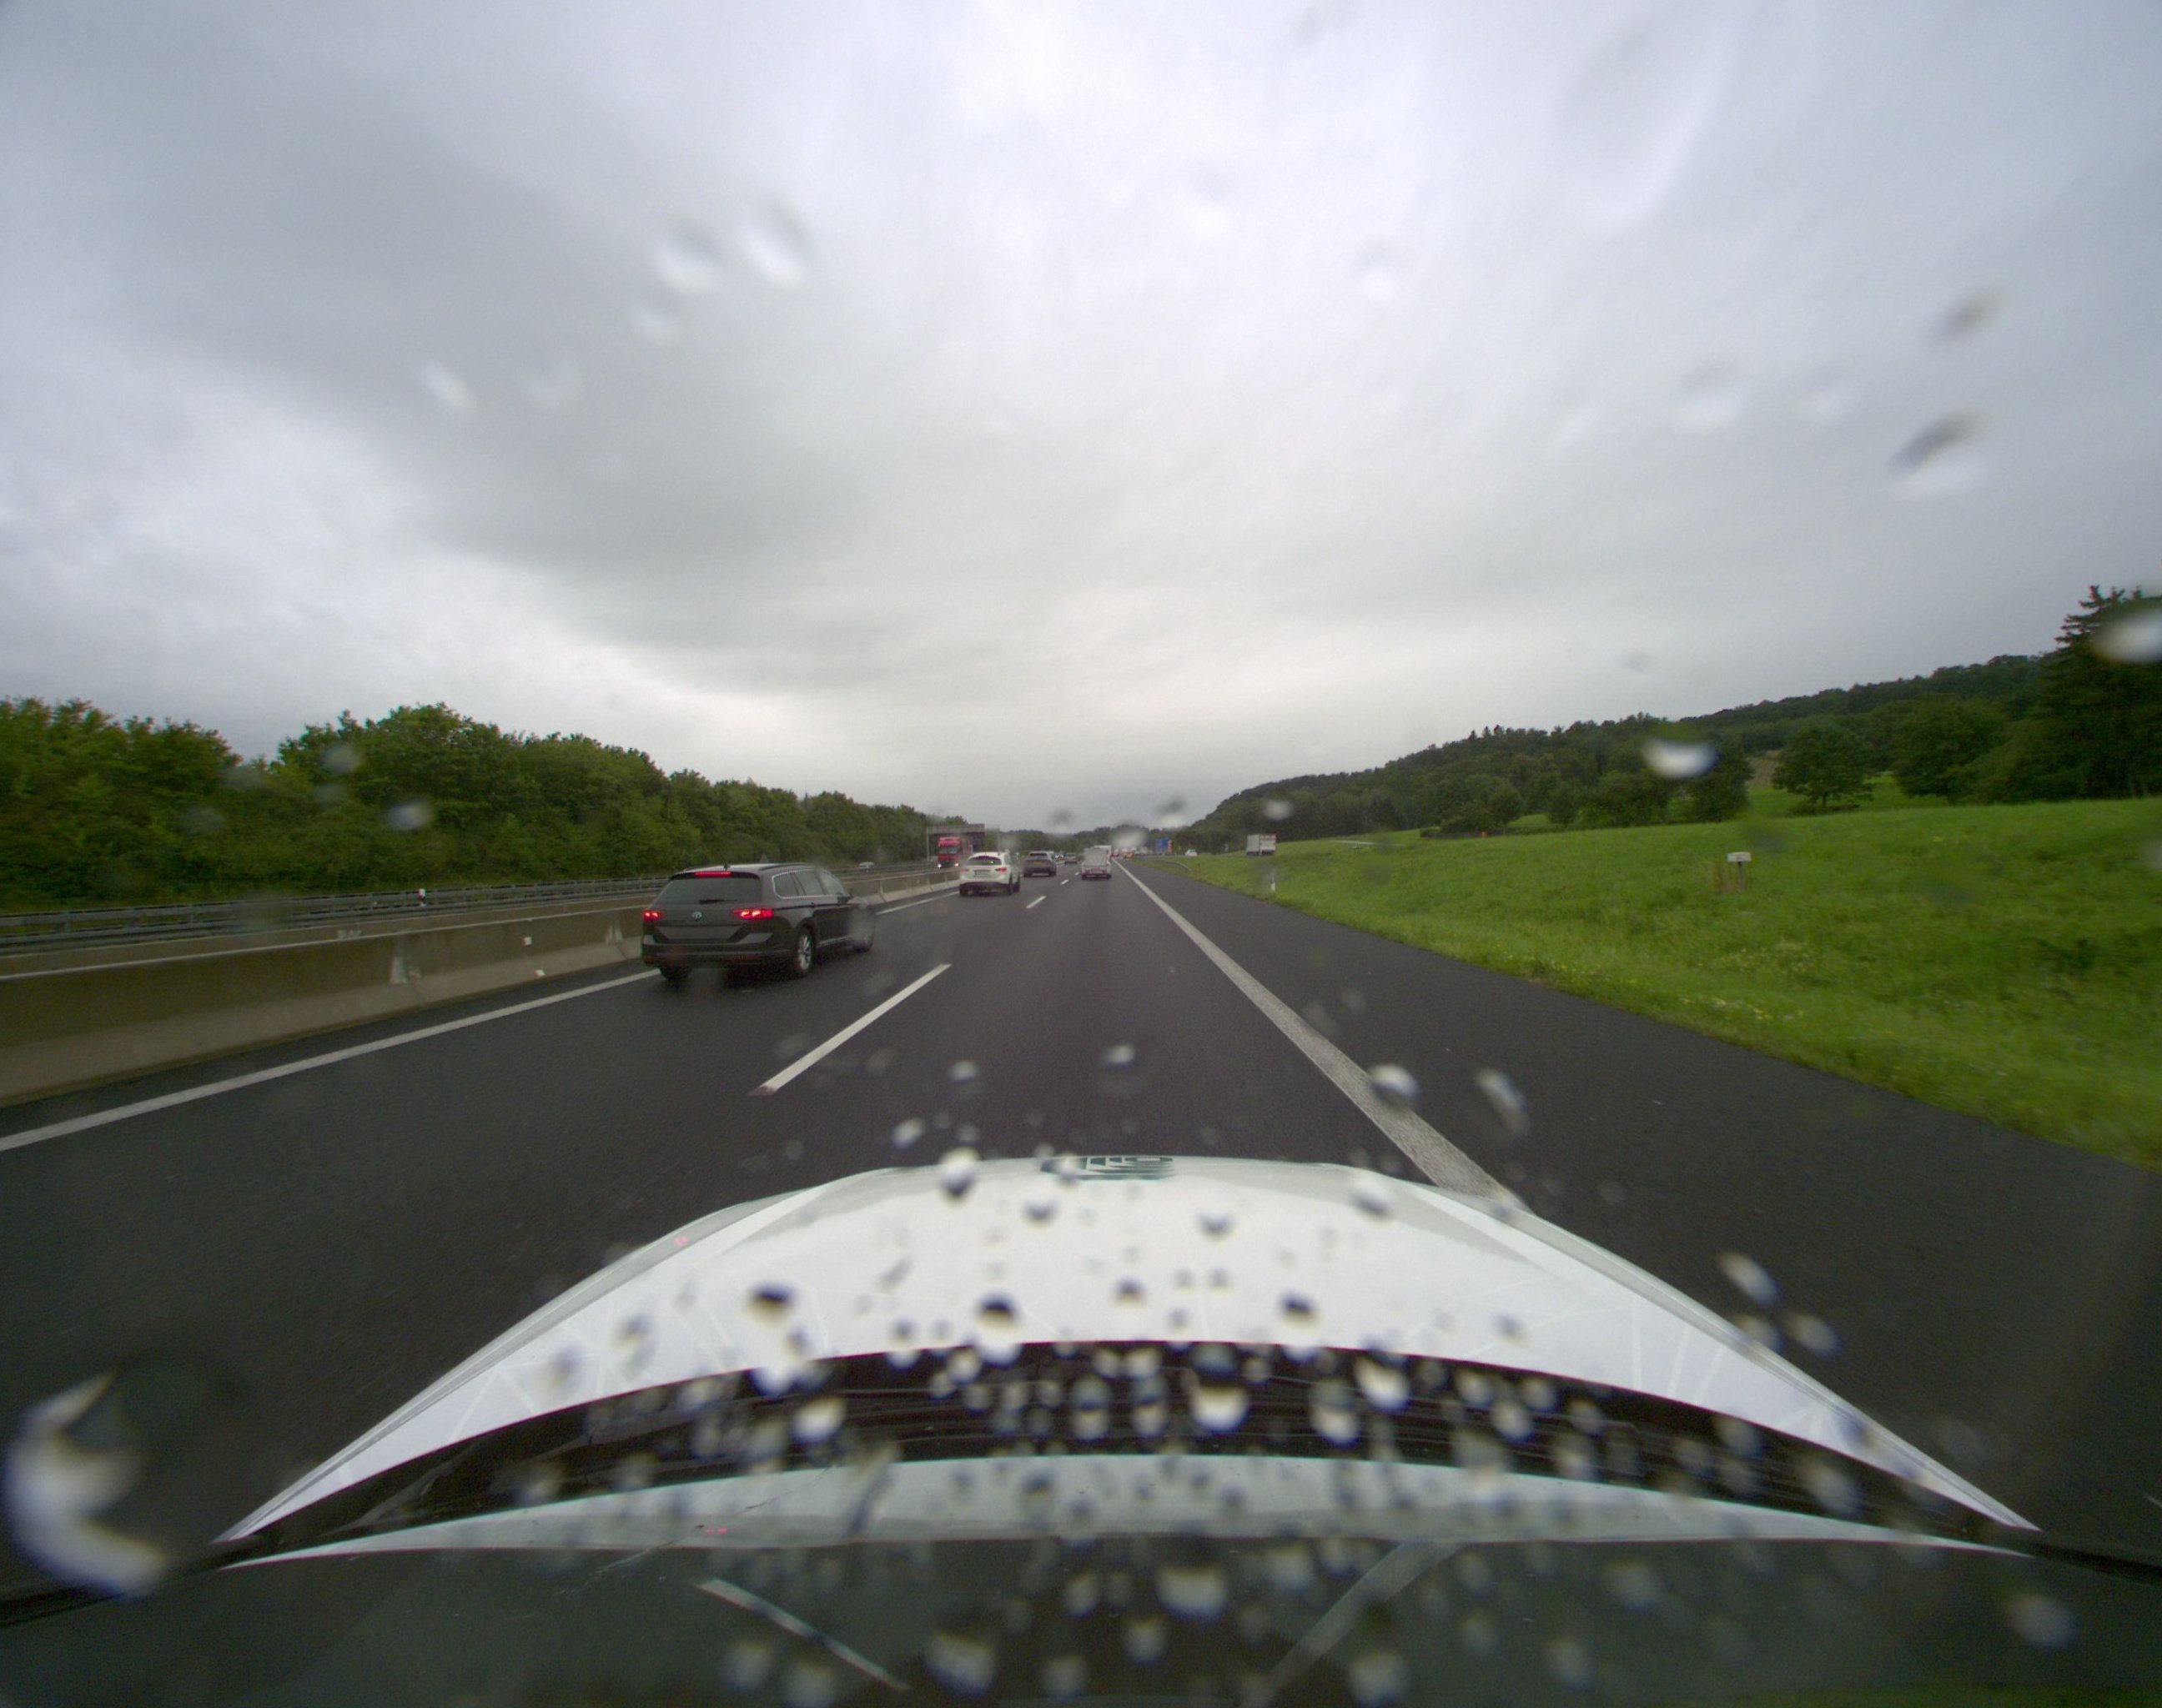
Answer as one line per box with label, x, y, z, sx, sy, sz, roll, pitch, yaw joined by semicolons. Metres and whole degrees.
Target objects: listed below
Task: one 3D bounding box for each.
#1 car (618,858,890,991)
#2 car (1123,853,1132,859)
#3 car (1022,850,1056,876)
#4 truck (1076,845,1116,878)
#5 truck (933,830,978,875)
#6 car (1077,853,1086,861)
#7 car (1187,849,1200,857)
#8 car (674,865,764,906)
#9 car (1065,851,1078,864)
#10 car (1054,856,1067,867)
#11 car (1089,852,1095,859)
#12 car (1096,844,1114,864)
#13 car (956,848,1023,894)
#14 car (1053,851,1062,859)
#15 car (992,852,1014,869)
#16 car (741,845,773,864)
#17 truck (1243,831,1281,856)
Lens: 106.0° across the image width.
car;-4.269;0.810;11.636;1.780;1.459;4.804;-1;0;2
car;12.069;0.436;211.208;1.989;1.552;3.995;0;0;-3
car;-2.839;0.577;55.888;1.968;1.703;4.803;-1;0;1
truck;0.908;0.432;49.194;2.234;1.839;6.585;-1;0;1
truck;-14.022;-0.177;91.689;3.389;4.733;10.483;-1;0;0
car;0.080;0.630;162.150;1.639;1.574;4.002;0;0;2
car;22.837;-0.188;165.962;1.989;1.552;3.996;0;0;-3
car;-15.308;1.301;34.745;1.718;1.552;4.583;0;0;1
car;-1.314;0.452;118.429;1.732;1.794;4.001;-1;0;1
car;-3.193;1.177;127.580;1.812;1.662;4.019;-2;0;2
car;2.766;0.412;204.130;1.639;1.574;4.002;0;0;2
car;3.357;-0.050;114.071;2.323;2.725;6.540;-1;0;1
car;-3.518;0.619;32.184;2.041;1.670;4.542;-1;0;1
car;-5.630;0.284;194.056;1.987;1.836;4.679;0;0;0
car;-9.609;0.770;100.732;1.987;1.863;5.222;-3;0;1
car;-35.940;0.084;90.539;1.742;2.013;4.003;-2;0;3
truck;27.756;-1.601;125.170;3.815;3.659;8.265;0;0;-2
